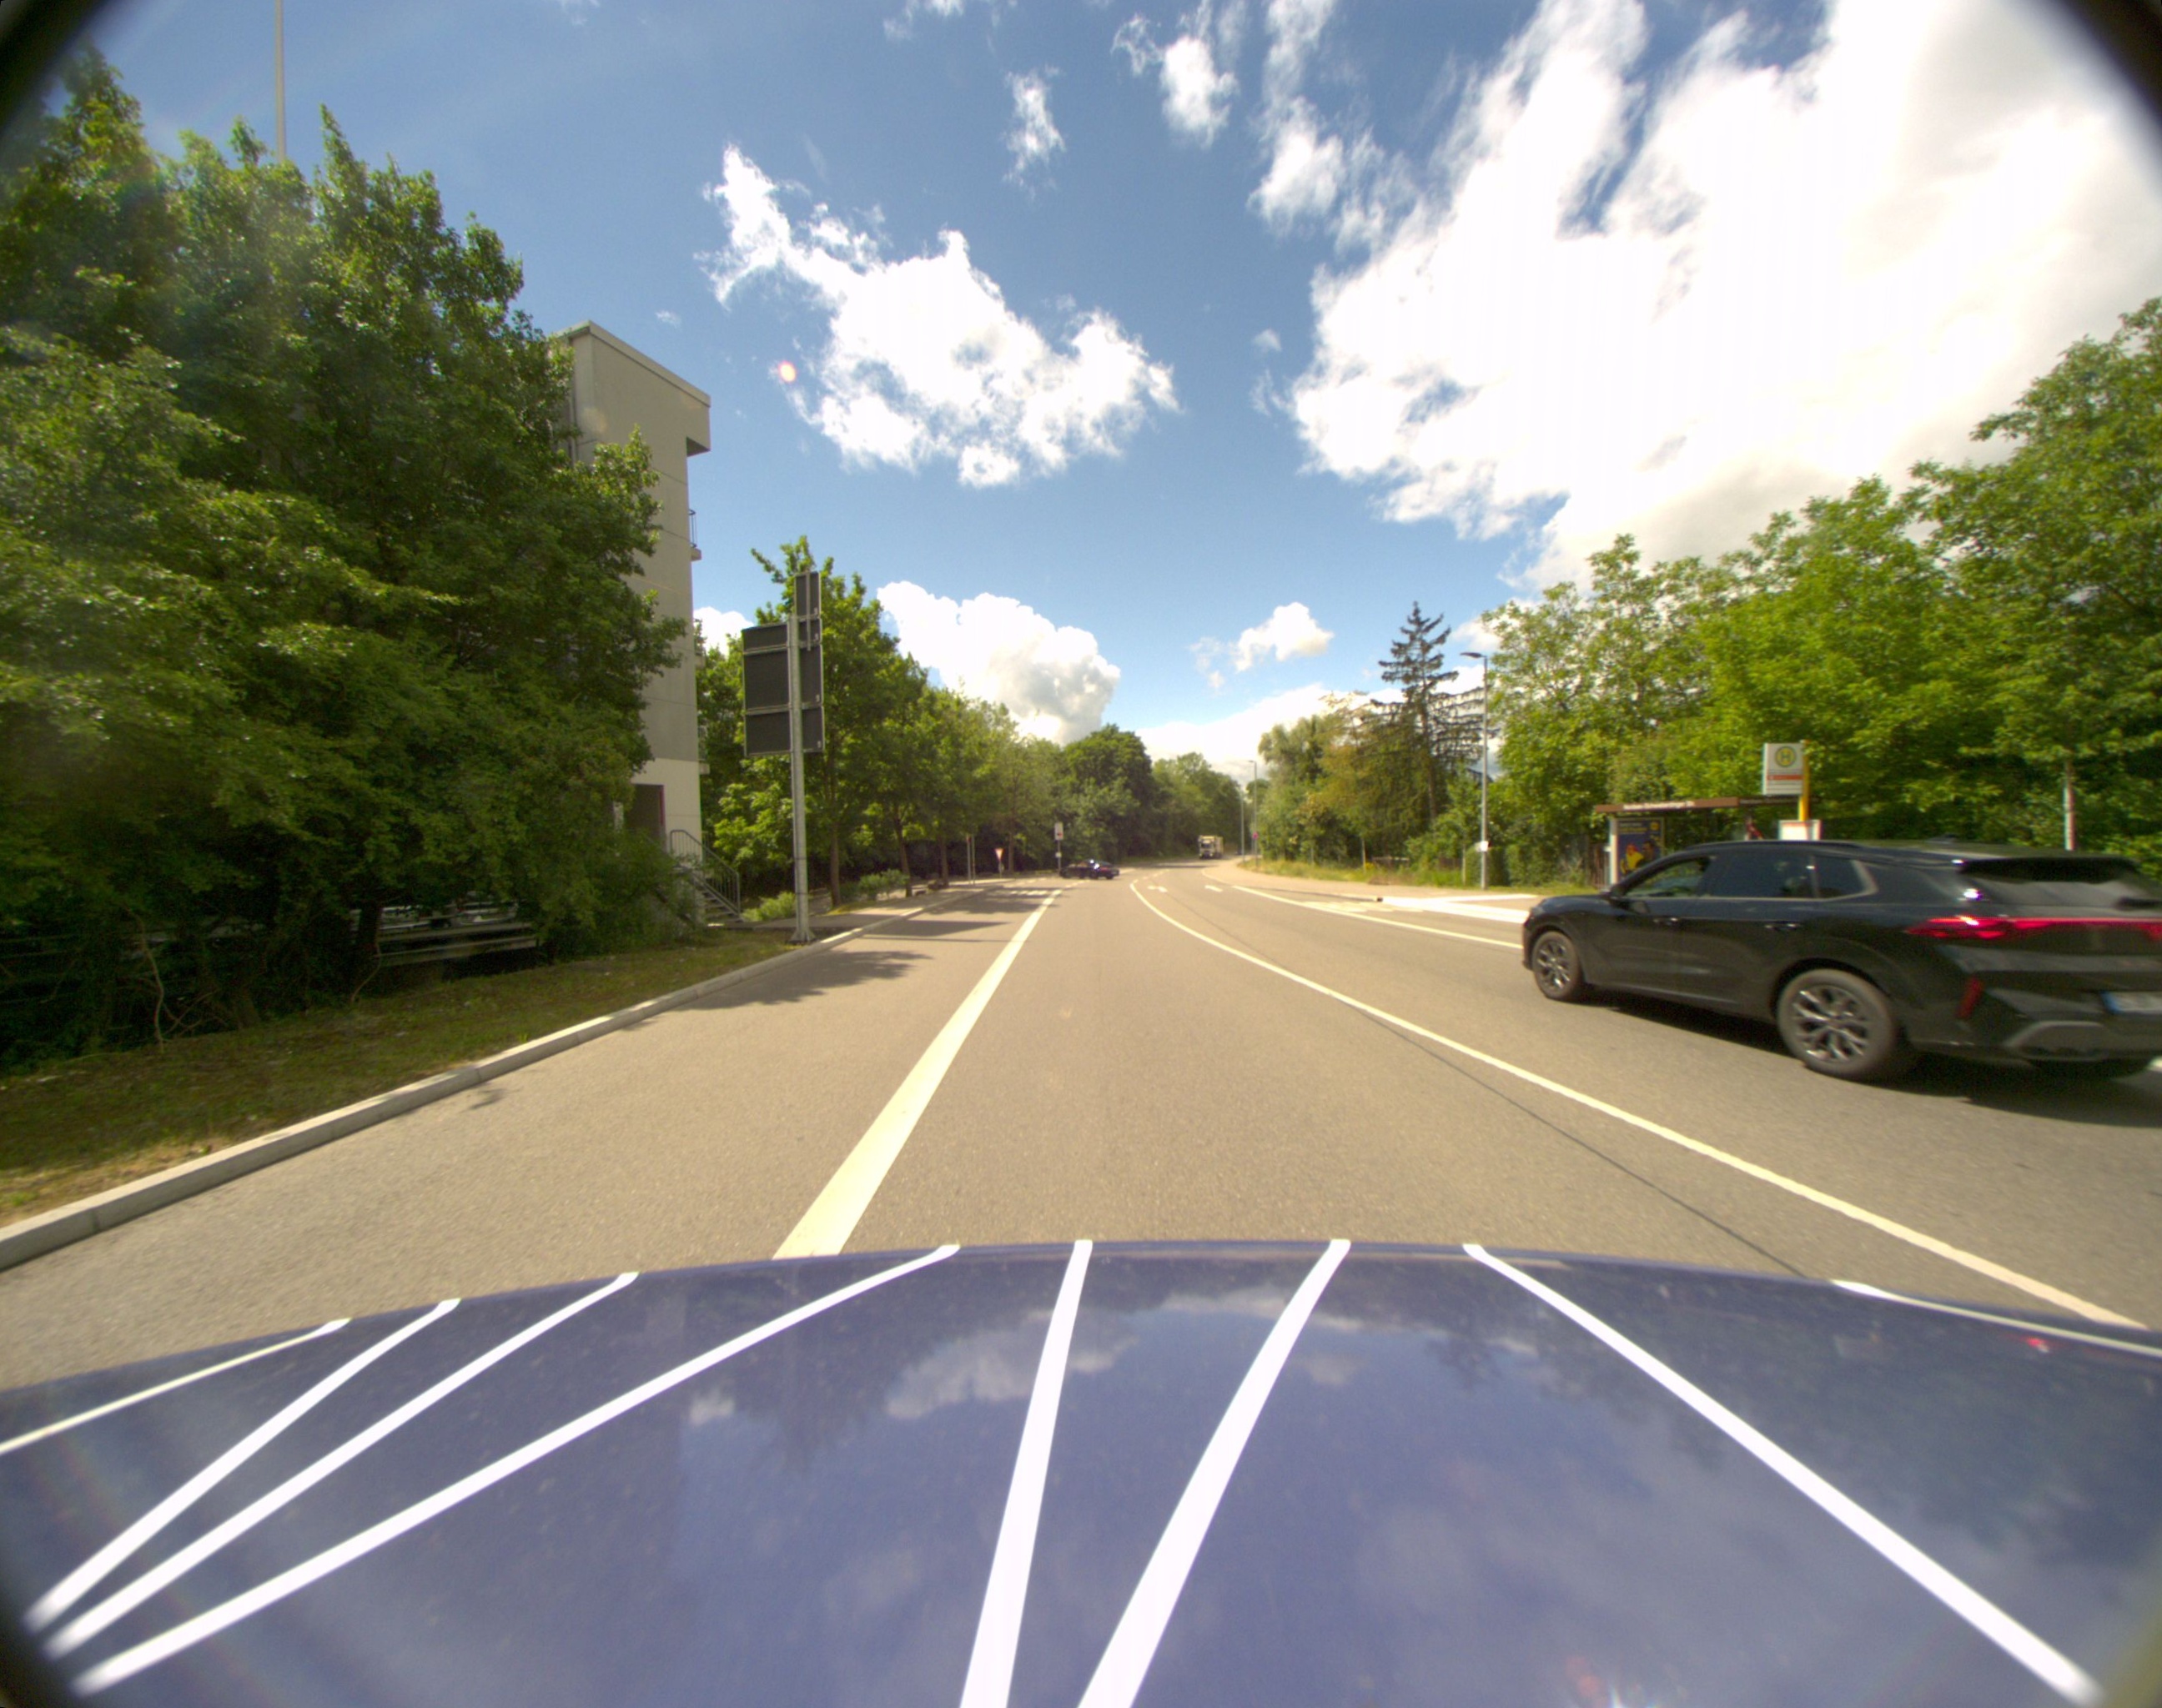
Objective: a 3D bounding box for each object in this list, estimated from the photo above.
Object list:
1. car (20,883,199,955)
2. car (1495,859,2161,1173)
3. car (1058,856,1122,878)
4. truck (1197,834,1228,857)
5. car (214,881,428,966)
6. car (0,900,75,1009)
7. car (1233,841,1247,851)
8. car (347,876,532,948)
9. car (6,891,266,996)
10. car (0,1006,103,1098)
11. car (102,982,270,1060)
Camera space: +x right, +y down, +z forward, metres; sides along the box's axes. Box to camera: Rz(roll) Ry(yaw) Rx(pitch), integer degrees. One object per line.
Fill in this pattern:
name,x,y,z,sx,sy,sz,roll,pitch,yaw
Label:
car,-25.228,1.612,19.731,4.317,1.621,2.003,-1,0,27
car,5.585,0.823,6.125,1.827,1.548,4.628,0,0,-2
car,0.543,0.831,49.499,3.992,1.293,1.743,0,1,43
truck,22.324,-1.521,128.537,3.236,3.839,9.886,1,2,21
car,-15.374,1.351,15.386,3.767,1.483,1.668,-1,0,22
car,-16.802,1.454,11.031,3.767,1.461,1.668,-1,0,22
car,32.886,-1.610,157.019,1.995,2.002,4.005,1,2,21
car,-14.873,1.297,17.624,3.767,1.455,1.668,-1,0,22
car,-15.847,1.414,12.756,3.767,1.461,1.668,-1,0,22
car,-24.969,4.565,17.587,4.317,1.410,2.003,-1,0,27
car,-24.731,4.515,20.985,4.317,1.410,2.003,-1,0,27
